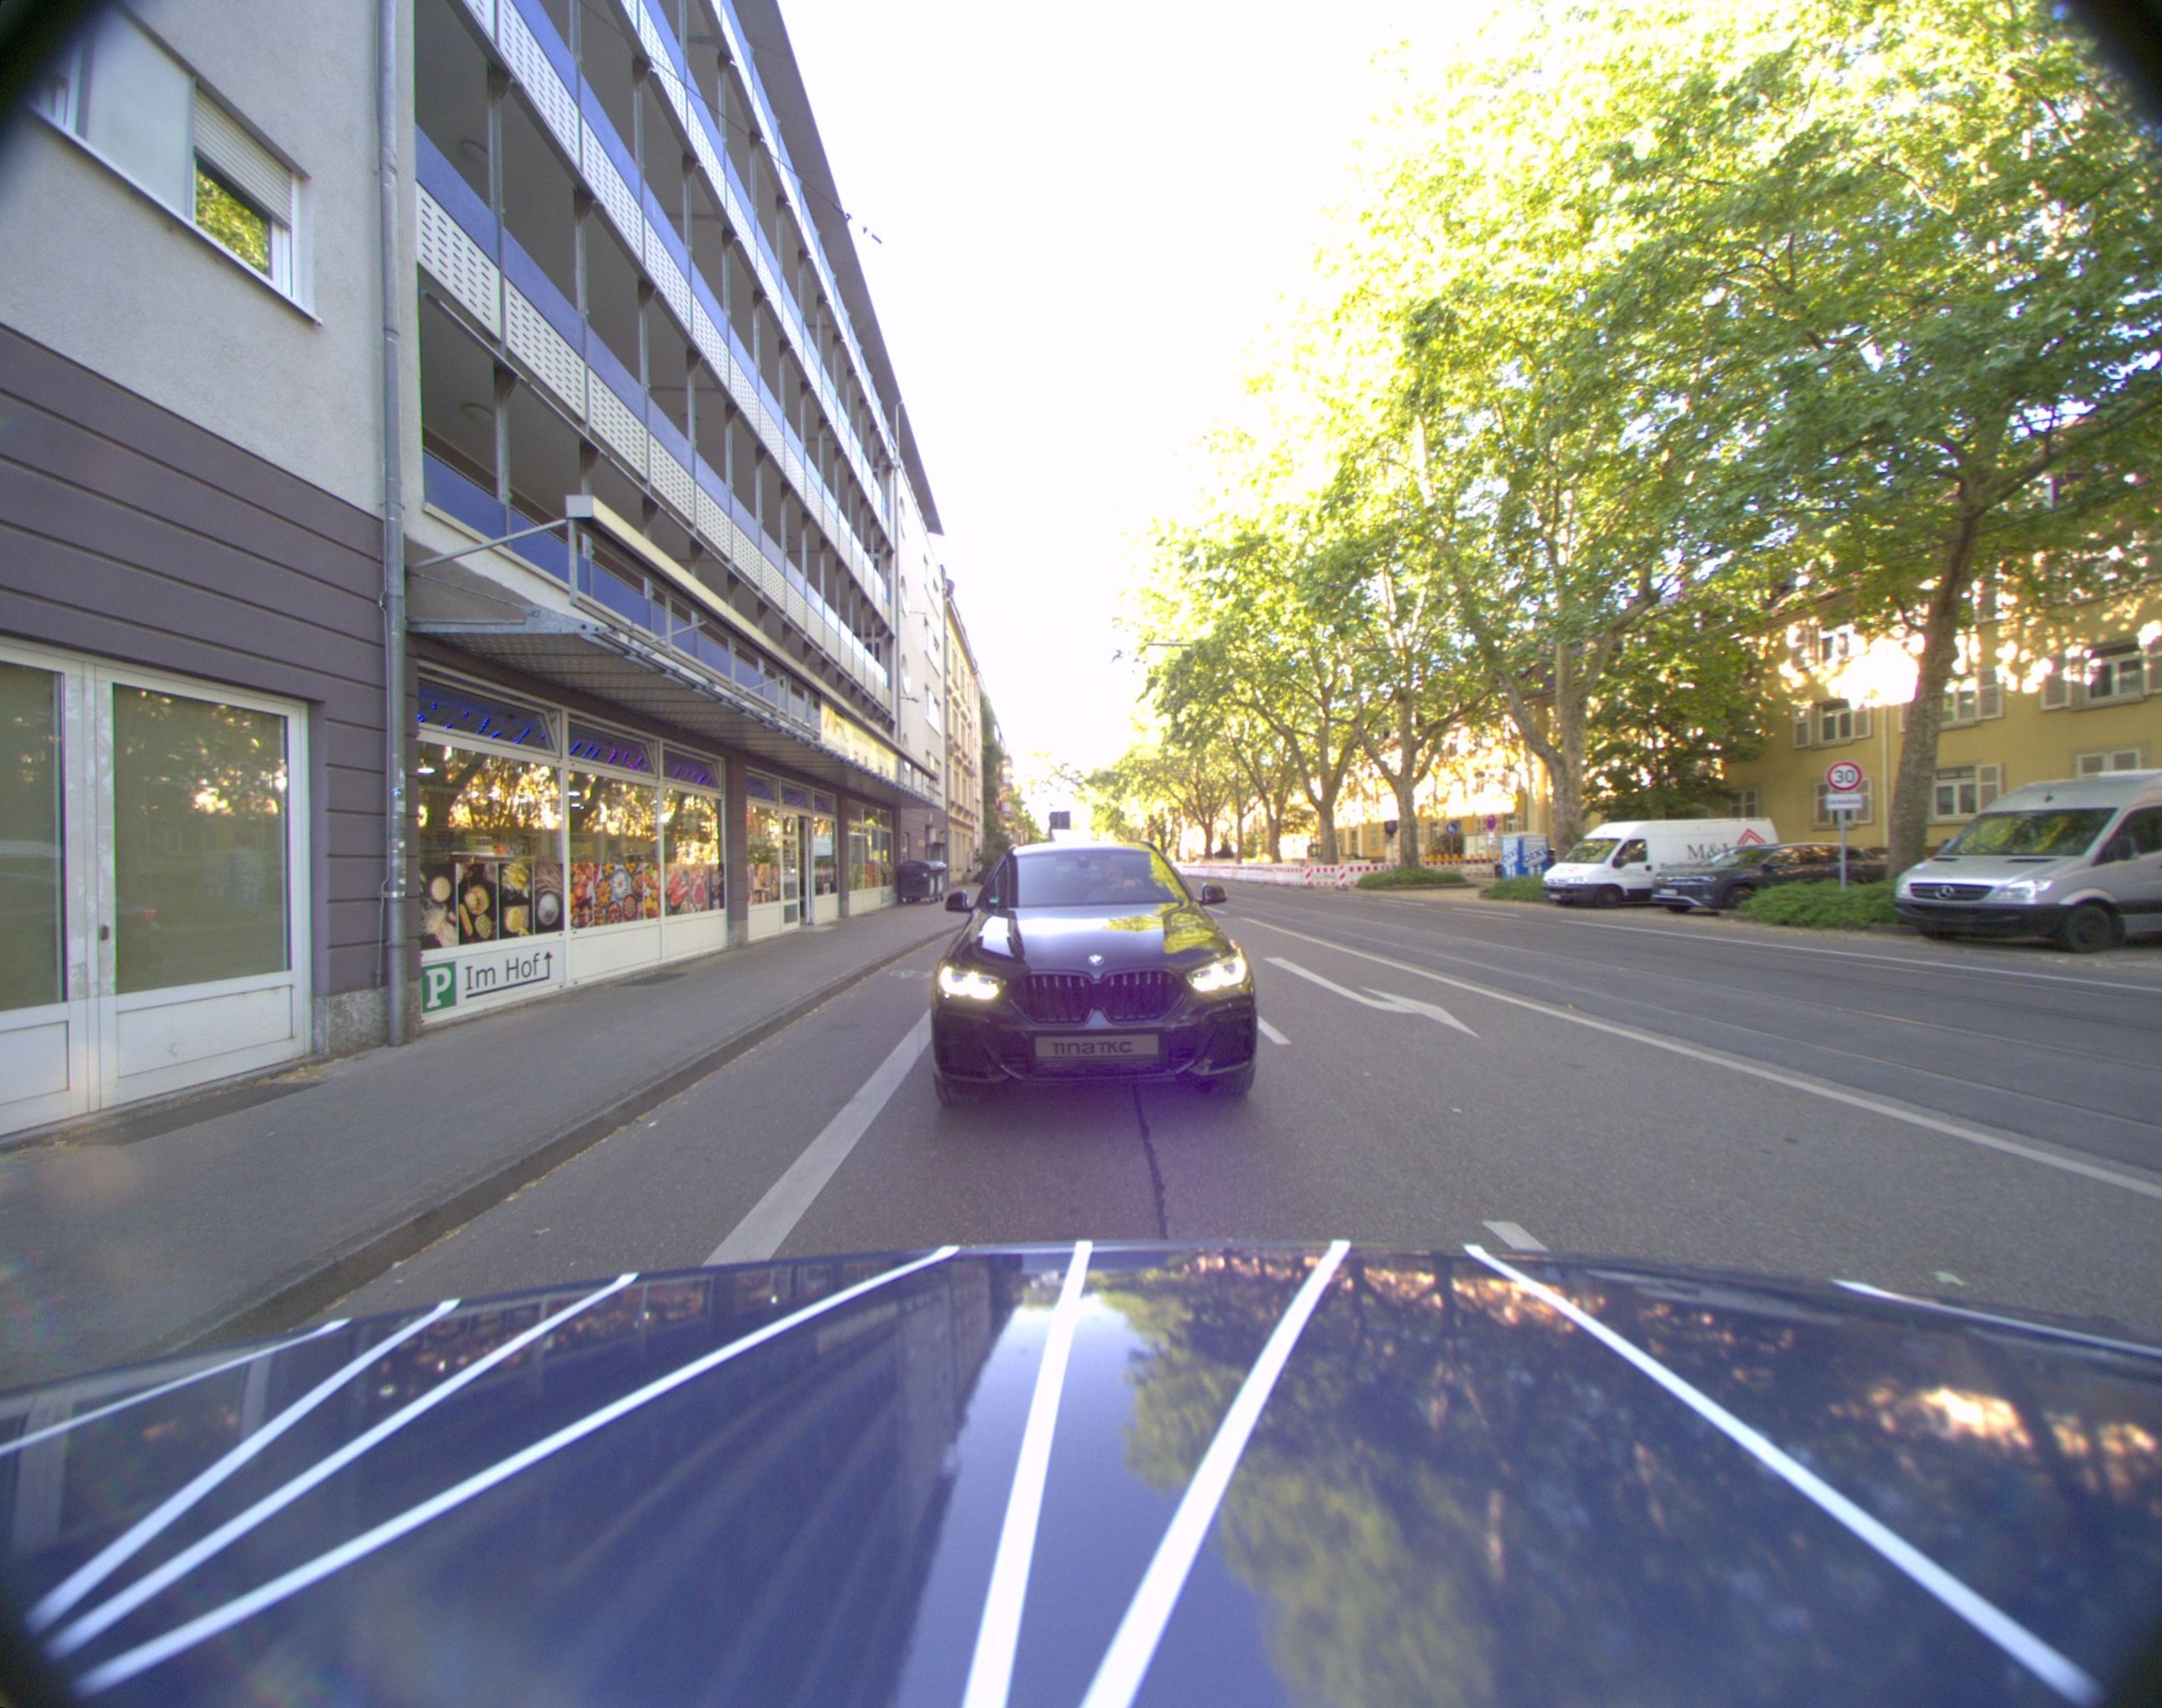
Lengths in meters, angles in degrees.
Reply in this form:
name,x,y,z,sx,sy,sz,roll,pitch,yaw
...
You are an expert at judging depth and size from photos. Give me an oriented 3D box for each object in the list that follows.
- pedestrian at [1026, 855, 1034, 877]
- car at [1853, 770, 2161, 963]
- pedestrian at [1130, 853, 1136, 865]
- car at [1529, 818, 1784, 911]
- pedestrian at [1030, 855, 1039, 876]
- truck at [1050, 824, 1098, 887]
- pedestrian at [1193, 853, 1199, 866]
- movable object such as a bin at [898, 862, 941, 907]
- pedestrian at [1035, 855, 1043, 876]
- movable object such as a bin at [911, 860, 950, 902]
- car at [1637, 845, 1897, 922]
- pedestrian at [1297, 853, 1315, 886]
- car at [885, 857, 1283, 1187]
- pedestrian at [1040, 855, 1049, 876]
name,x,y,z,sx,sy,sz,roll,pitch,yaw
pedestrian,-4.565,1.078,68.121,0.600,1.875,0.581,-2,1,-1
car,15.987,0.126,11.870,5.666,2.666,2.223,-2,0,-2
pedestrian,7.985,0.780,116.201,0.733,1.875,0.741,-2,1,-1
car,15.847,0.287,21.160,5.404,2.362,2.223,-1,0,0
pedestrian,-4.255,1.029,69.431,0.733,1.875,0.664,-2,1,-1
truck,-0.312,0.115,42.180,2.394,3.170,6.587,-1,0,1
pedestrian,16.762,0.837,110.871,0.732,1.875,0.665,-2,1,8
movable object such as a bin,-5.238,0.977,24.659,1.158,1.418,0.939,-1,0,1
pedestrian,-3.805,1.046,68.356,0.600,1.875,0.581,-2,1,-1
movable object such as a bin,-5.281,0.947,26.697,1.158,1.418,0.939,-1,0,1
car,16.080,0.655,17.952,4.627,1.642,1.774,-1,0,-2
pedestrian,12.275,0.842,41.454,0.653,1.735,0.582,-3,1,-30
car,0.044,0.866,6.010,1.998,1.643,4.295,-1,0,1
pedestrian,-3.370,1.020,69.347,0.733,1.875,0.664,-2,1,-1
